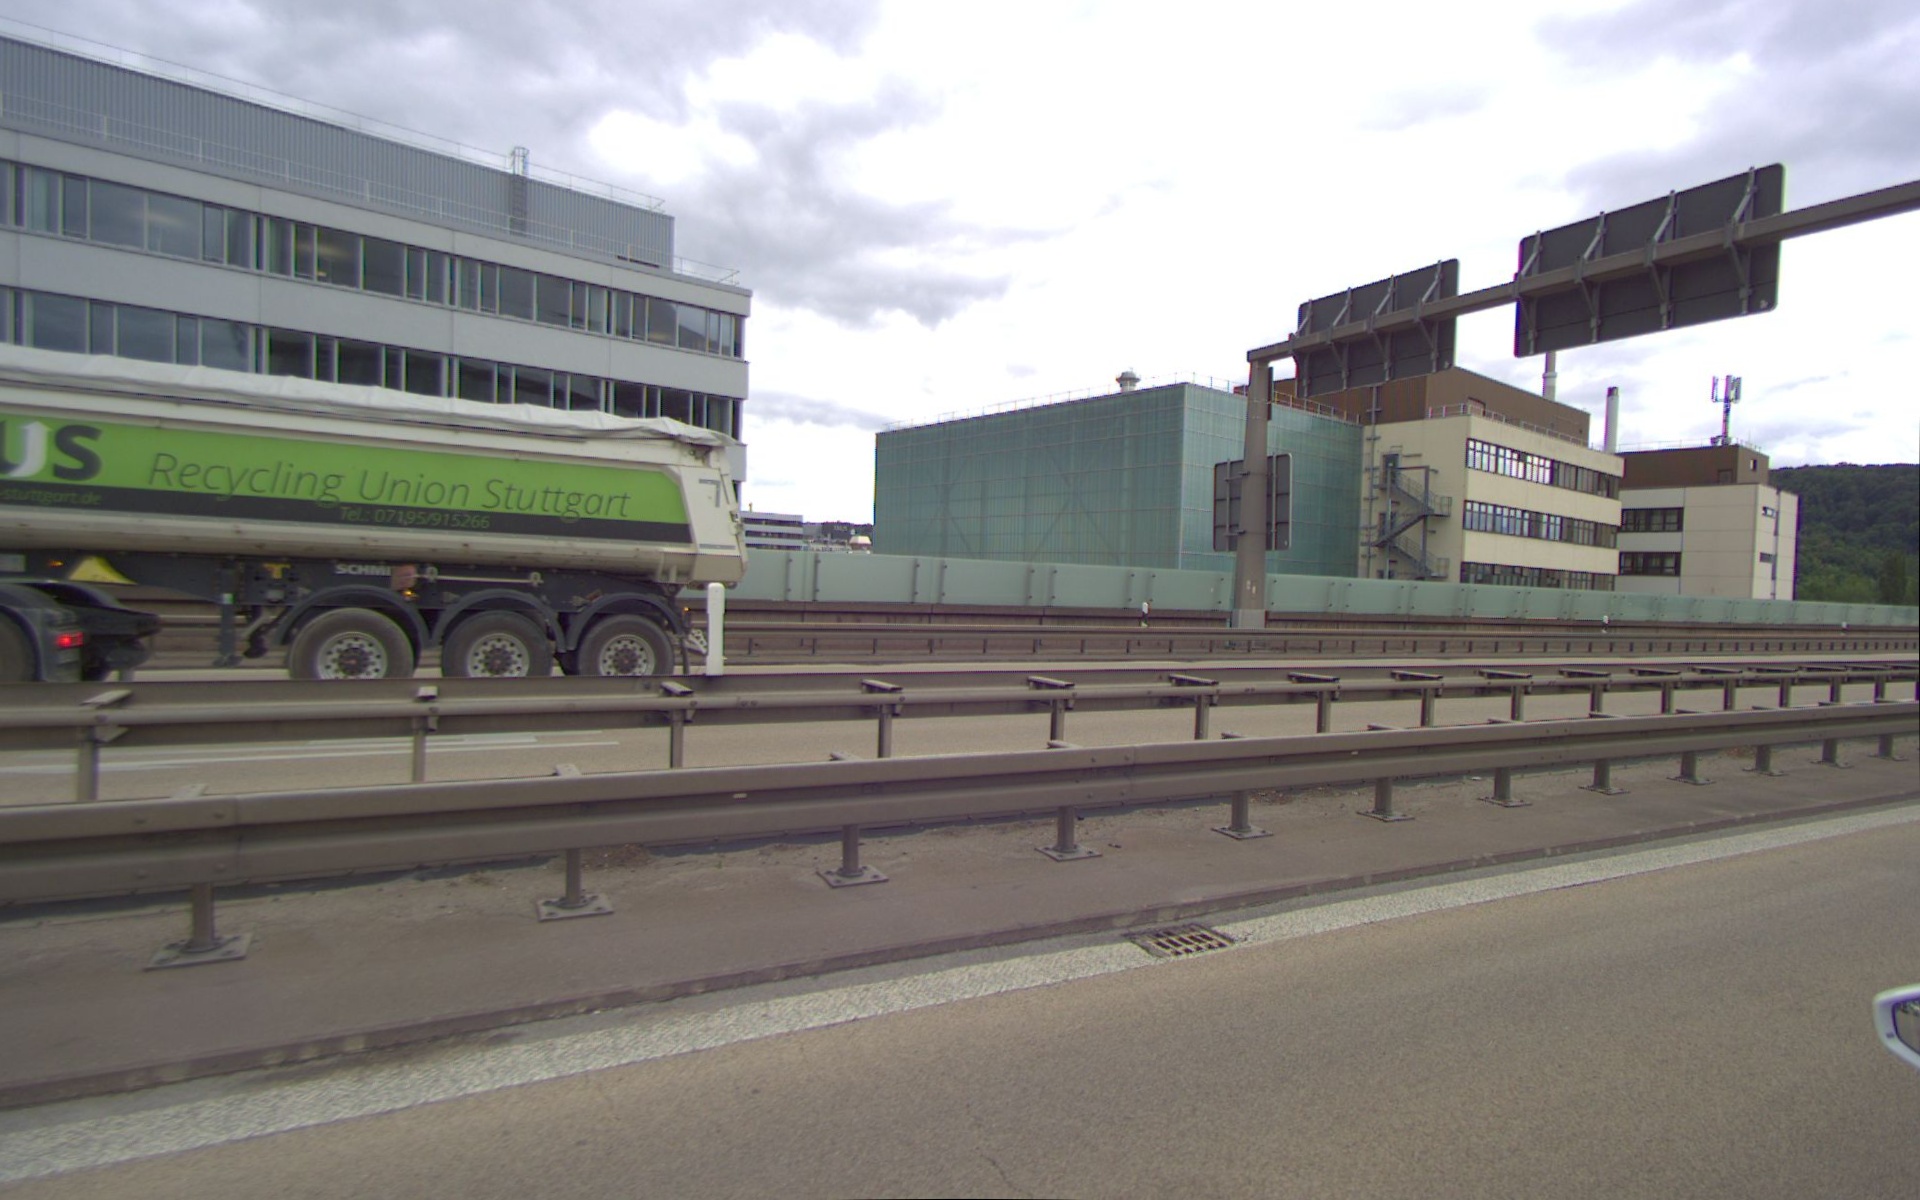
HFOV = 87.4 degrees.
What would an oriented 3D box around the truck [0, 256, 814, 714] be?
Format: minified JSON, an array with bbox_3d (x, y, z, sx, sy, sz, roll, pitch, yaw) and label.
[{"bbox_3d":[-7.900,-0.945,10.194,12.361,3.826,3.045,2,0,-28],"label":"truck"}]
